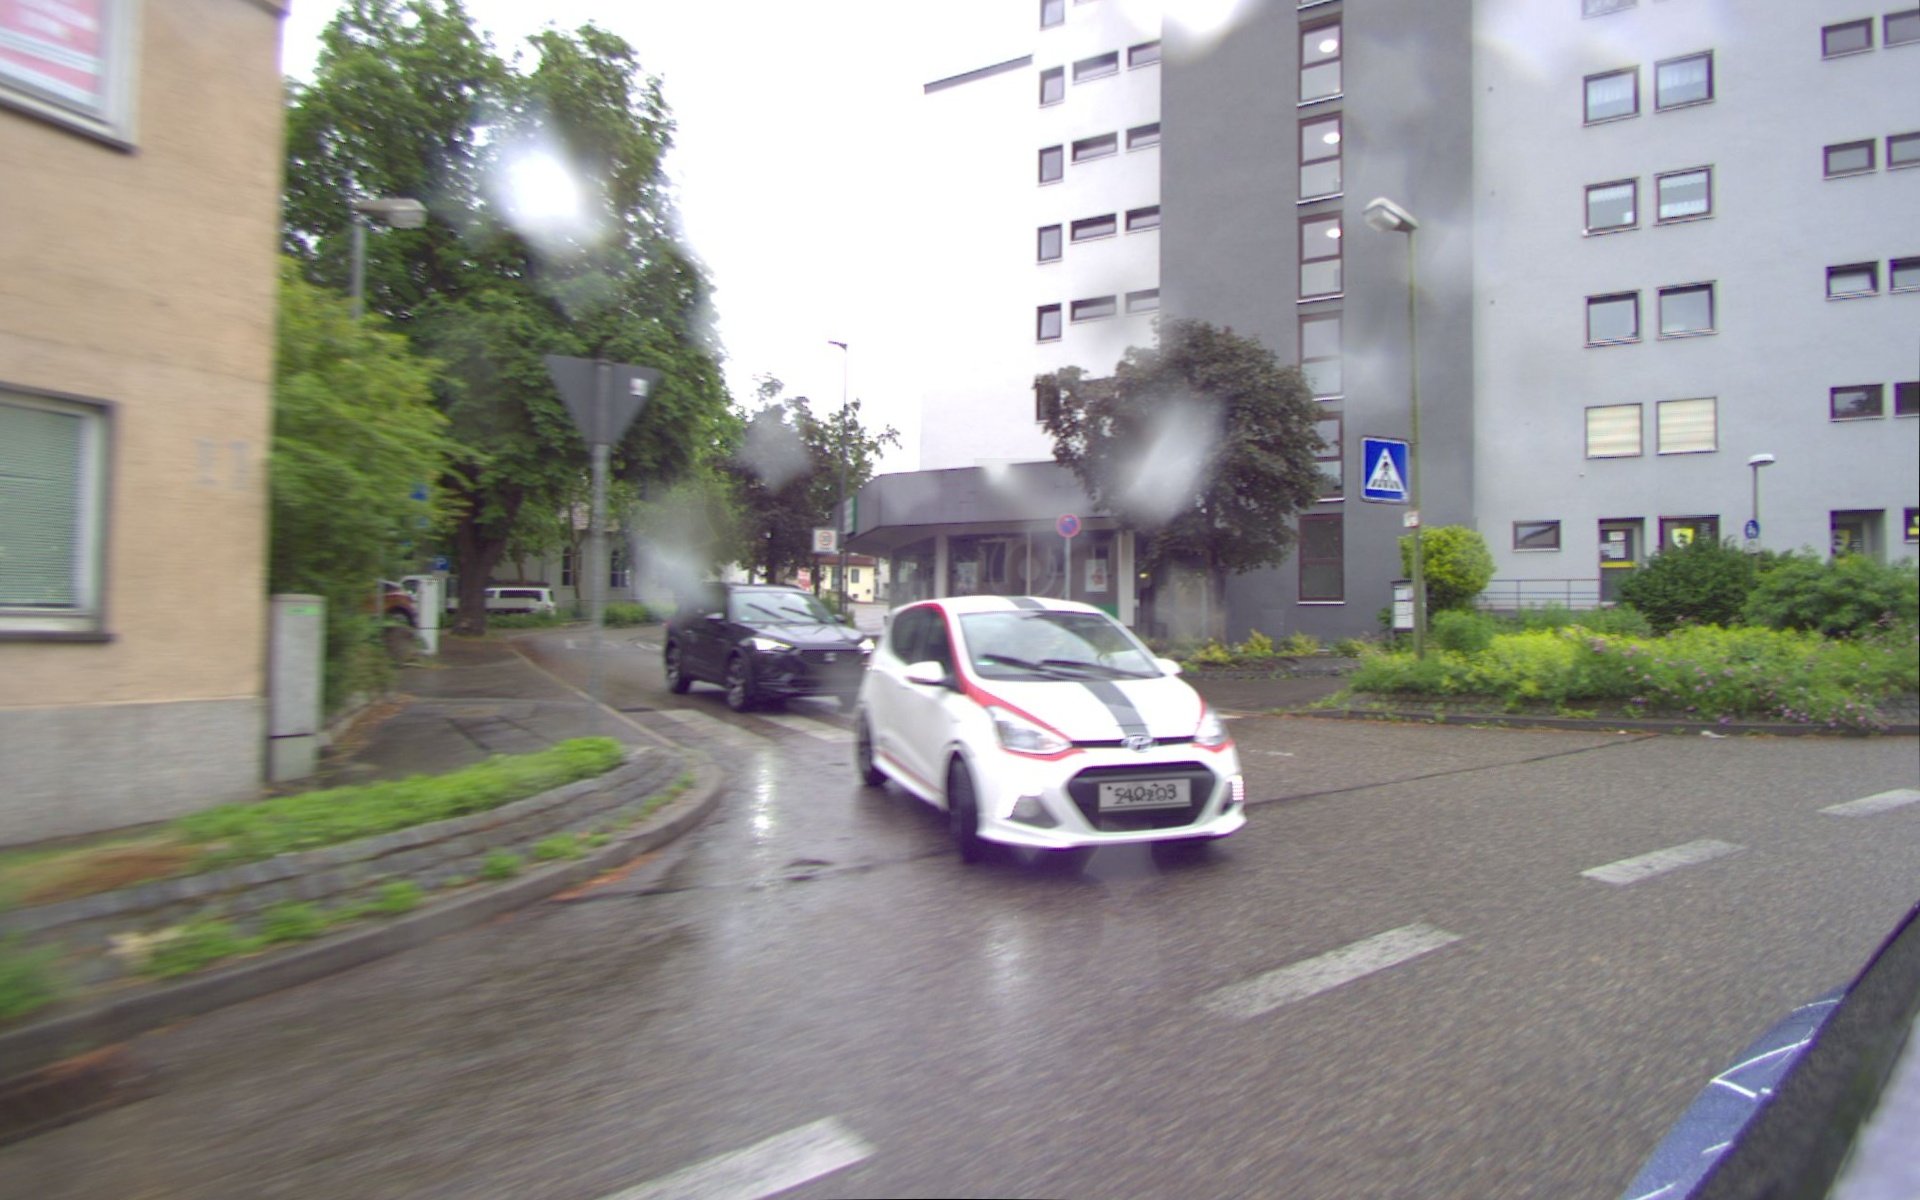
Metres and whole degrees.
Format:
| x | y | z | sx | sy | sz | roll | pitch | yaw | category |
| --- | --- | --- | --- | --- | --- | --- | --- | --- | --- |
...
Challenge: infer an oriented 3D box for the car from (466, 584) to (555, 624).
| x | y | z | sx | sy | sz | roll | pitch | yaw | category |
| --- | --- | --- | --- | --- | --- | --- | --- | --- | --- |
| -22.278 | 0.227 | 50.269 | 3.754 | 1.859 | 1.859 | 1 | -3 | -15 | car |

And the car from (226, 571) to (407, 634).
| x | y | z | sx | sy | sz | roll | pitch | yaw | category |
| --- | --- | --- | --- | --- | --- | --- | --- | --- | --- |
| -17.473 | 0.074 | 27.682 | 1.703 | 1.593 | 3.867 | 0 | 0 | 27 | car |

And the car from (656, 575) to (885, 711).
| x | y | z | sx | sy | sz | roll | pitch | yaw | category |
| --- | --- | --- | --- | --- | --- | --- | --- | --- | --- |
| -2.823 | 0.551 | 14.190 | 1.685 | 1.593 | 4.422 | 2 | -2 | -31 | car |

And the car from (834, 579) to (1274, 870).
| x | y | z | sx | sy | sz | roll | pitch | yaw | category |
| --- | --- | --- | --- | --- | --- | --- | --- | --- | --- |
| 0.343 | 0.642 | 7.186 | 1.676 | 1.471 | 3.771 | 1 | 0 | -19 | car |

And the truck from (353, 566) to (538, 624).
| x | y | z | sx | sy | sz | roll | pitch | yaw | category |
| --- | --- | --- | --- | --- | --- | --- | --- | --- | --- |
| -21.422 | -0.255 | 42.503 | 6.548 | 2.303 | 2.311 | -1 | 1 | -13 | truck |
